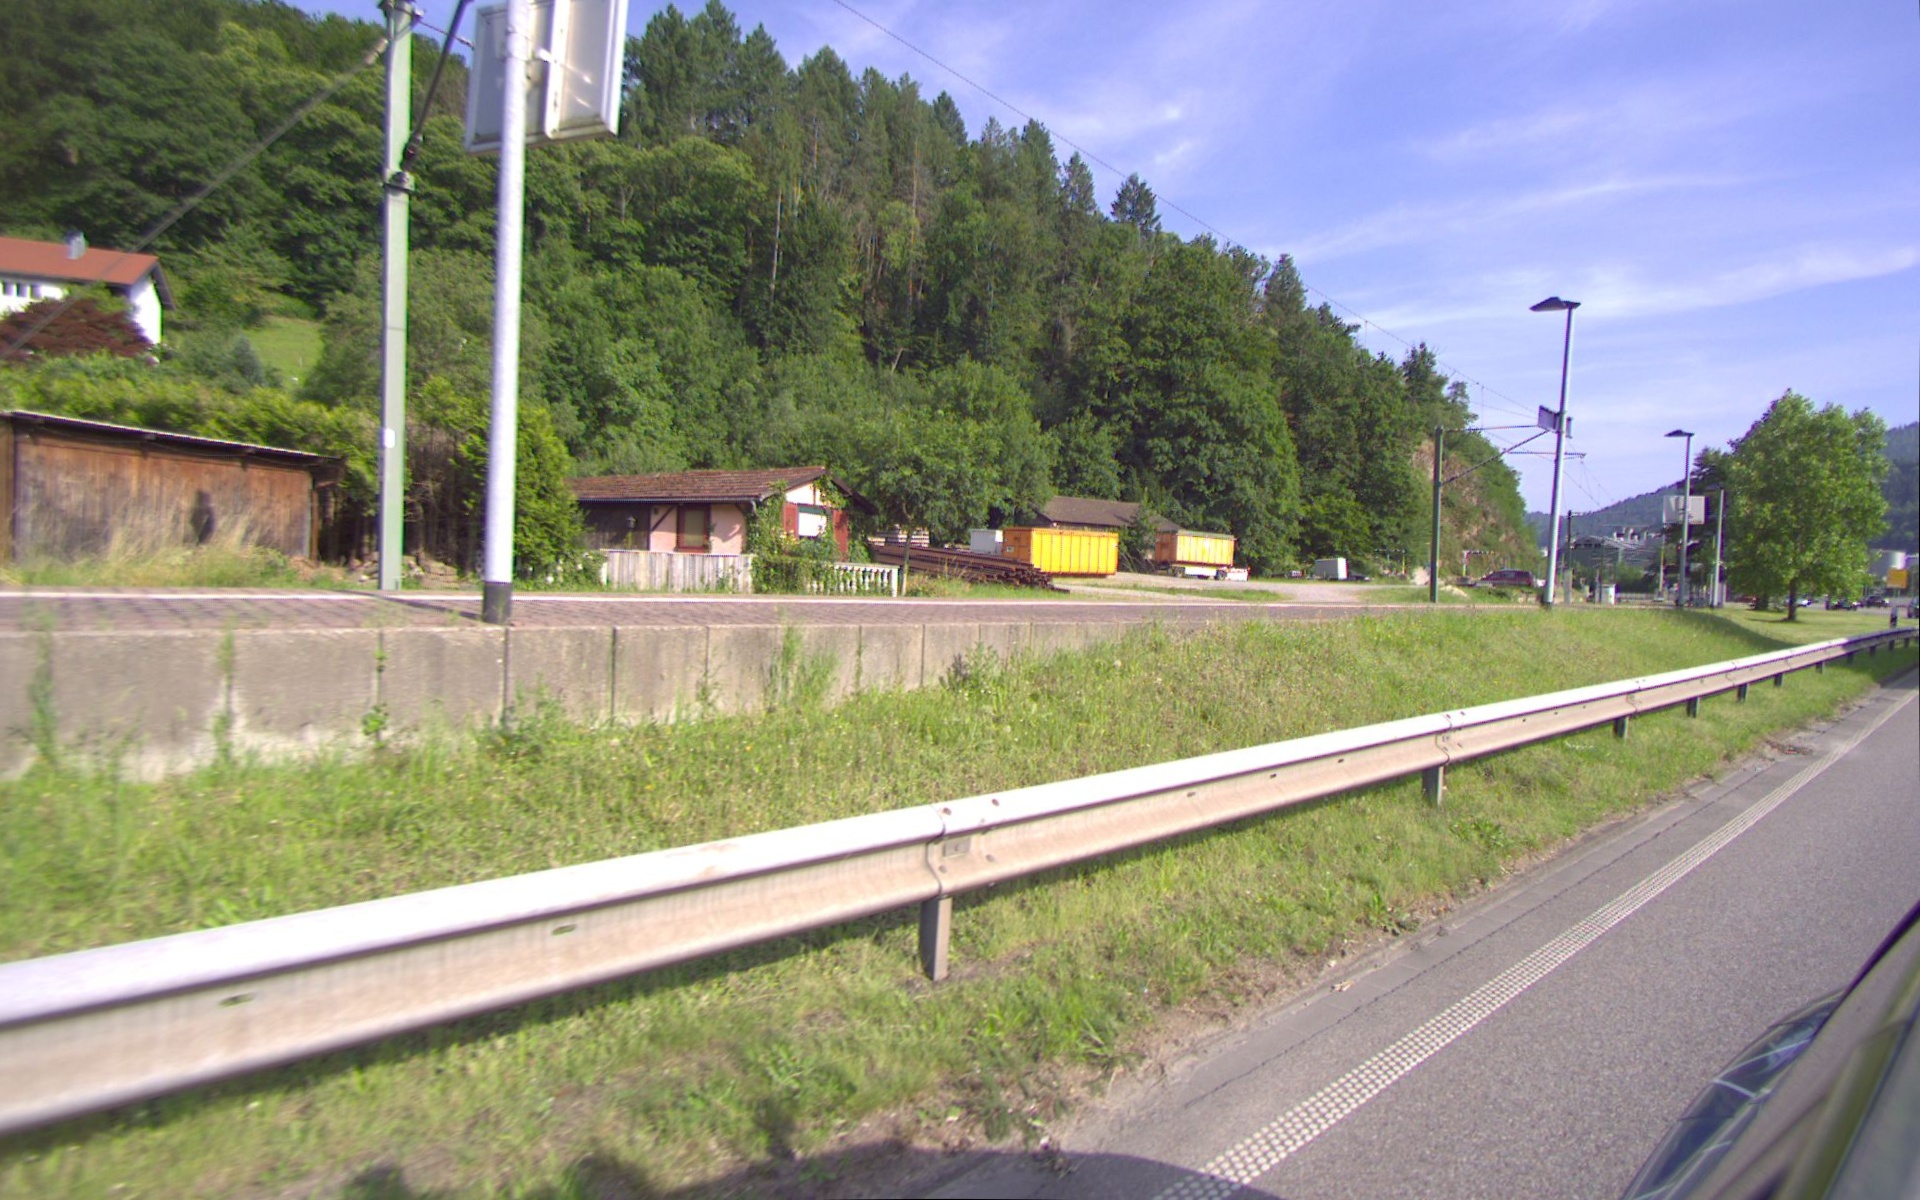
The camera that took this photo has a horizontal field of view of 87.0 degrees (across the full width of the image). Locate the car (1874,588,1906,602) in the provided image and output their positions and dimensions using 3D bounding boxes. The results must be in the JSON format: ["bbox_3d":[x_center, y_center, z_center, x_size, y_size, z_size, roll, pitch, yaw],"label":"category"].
[{"bbox_3d":[103.415,-0.600,112.598,1.685,1.419,4.158,4,3,30],"label":"car"}]

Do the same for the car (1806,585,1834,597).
[{"bbox_3d":[117.594,-1.261,138.443,1.839,1.487,4.502,3,3,26],"label":"car"}]

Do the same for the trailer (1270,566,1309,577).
[{"bbox_3d":[31.236,-2.696,95.953,1.704,0.926,3.073,0,3,-34],"label":"trailer"}]

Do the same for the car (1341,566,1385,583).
[{"bbox_3d":[38.773,-2.440,97.427,1.639,1.505,3.614,1,3,-36],"label":"car"}]

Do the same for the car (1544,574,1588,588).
[{"bbox_3d":[68.318,-2.153,114.056,4.086,1.415,1.786,2,1,37],"label":"car"}]

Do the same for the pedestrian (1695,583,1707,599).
[{"bbox_3d":[57.318,-0.686,78.276,0.714,1.175,0.636,0,3,-45],"label":"pedestrian"}]

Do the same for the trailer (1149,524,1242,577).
[{"bbox_3d":[18.787,-3.920,80.490,7.584,3.941,2.617,1,3,-34],"label":"trailer"}]

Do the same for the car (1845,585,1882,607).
[{"bbox_3d":[85.458,-0.390,95.778,1.989,1.814,3.951,7,5,34],"label":"car"}]

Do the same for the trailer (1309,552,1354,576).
[{"bbox_3d":[35.994,-3.463,98.122,1.783,2.216,3.706,0,2,-34],"label":"trailer"}]

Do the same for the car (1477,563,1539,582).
[{"bbox_3d":[51.718,-2.581,95.506,4.939,1.712,1.910,2,1,37],"label":"car"}]

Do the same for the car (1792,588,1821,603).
[{"bbox_3d":[95.864,-0.517,114.627,1.864,1.478,3.688,4,3,32],"label":"car"}]
